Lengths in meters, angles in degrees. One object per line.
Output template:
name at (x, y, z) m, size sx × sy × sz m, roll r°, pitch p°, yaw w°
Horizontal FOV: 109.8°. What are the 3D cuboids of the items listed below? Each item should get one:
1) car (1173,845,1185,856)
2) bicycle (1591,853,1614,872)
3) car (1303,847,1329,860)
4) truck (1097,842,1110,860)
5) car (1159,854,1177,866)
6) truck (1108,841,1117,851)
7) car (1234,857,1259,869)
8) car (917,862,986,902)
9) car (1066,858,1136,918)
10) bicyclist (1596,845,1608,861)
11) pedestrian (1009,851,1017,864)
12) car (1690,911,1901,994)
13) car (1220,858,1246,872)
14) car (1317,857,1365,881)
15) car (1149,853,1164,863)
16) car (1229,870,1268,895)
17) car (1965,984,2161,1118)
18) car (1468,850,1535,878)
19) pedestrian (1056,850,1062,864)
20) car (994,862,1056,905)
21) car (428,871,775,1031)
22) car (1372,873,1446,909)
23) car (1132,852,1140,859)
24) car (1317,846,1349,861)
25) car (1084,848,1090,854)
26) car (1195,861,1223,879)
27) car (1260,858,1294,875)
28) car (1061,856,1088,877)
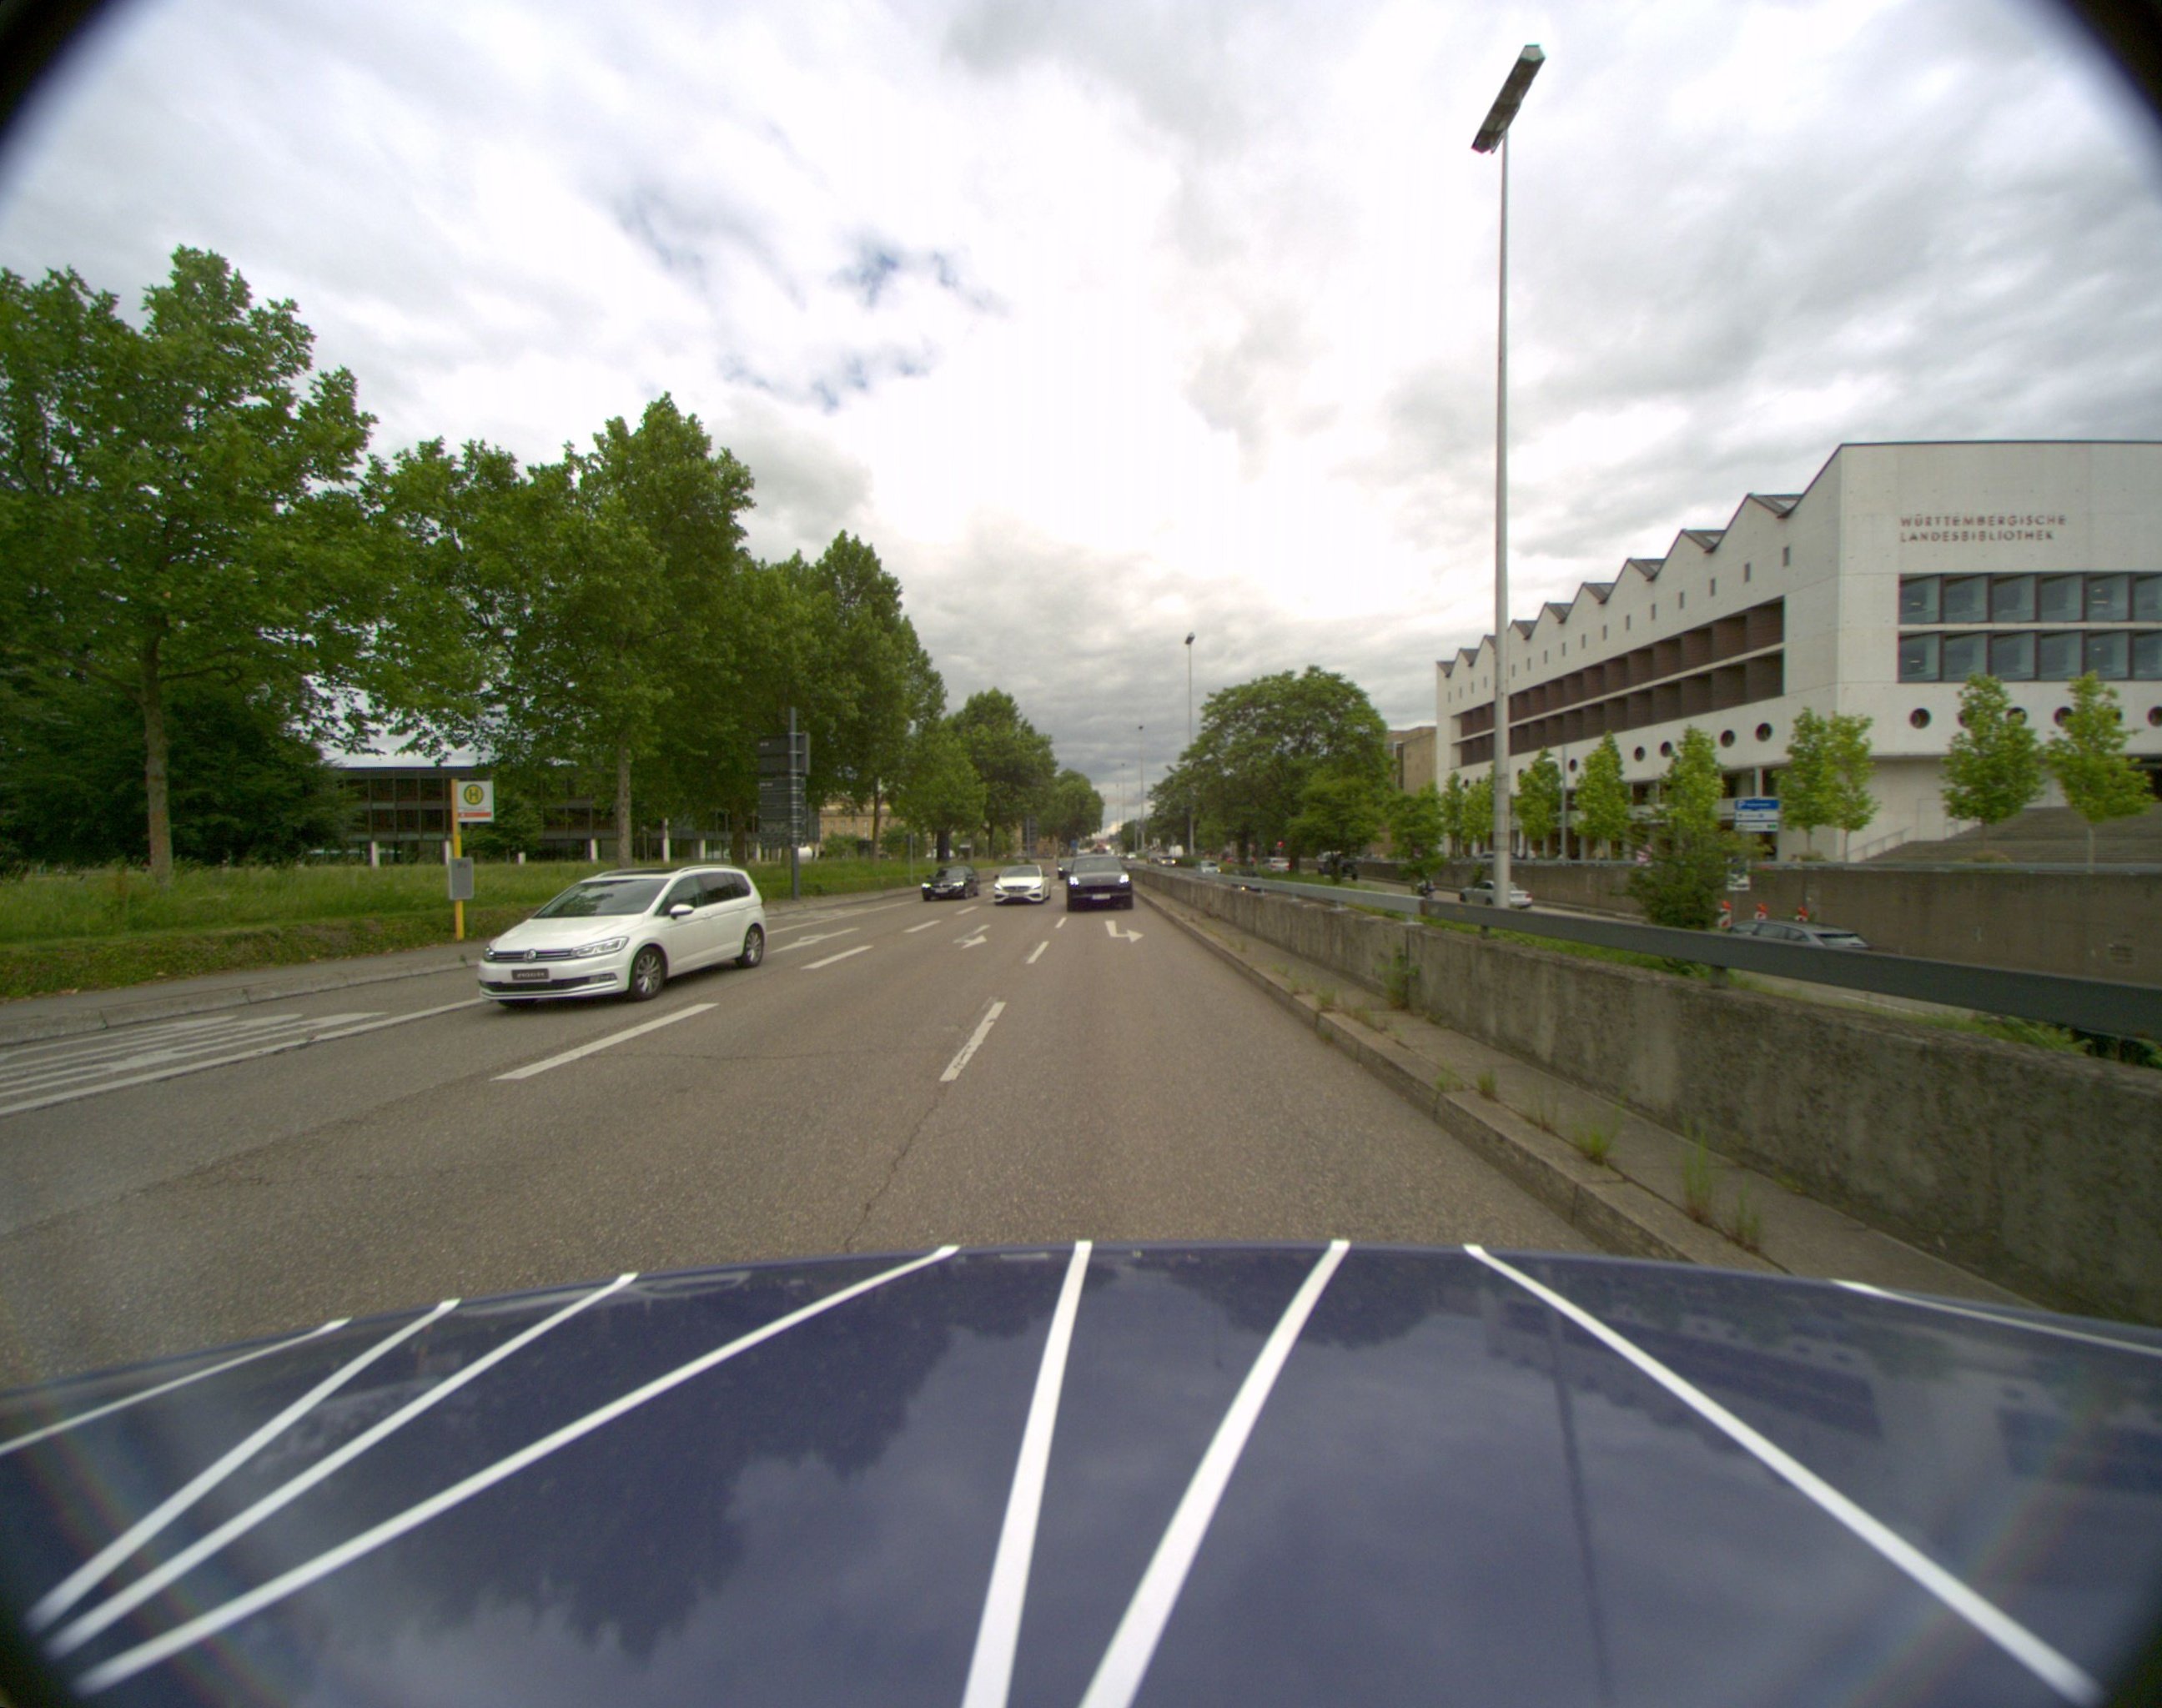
car at (17.403, -0.702, 134.976) m, size 1.609 × 1.844 × 4.000 m, roll -3°, pitch 1°, yaw 1°
bicycle at (37.225, 0.594, 54.215) m, size 0.403 × 1.265 × 1.699 m, roll -3°, pitch 1°, yaw -1°
car at (31.057, -0.027, 100.574) m, size 1.955 × 1.619 × 4.489 m, roll -1°, pitch 0°, yaw -3°
truck at (4.637, -0.678, 156.903) m, size 2.357 × 3.517 × 9.425 m, roll -3°, pitch 1°, yaw 2°
car at (10.681, 0.683, 93.287) m, size 1.657 × 1.406 × 4.092 m, roll -1°, pitch 0°, yaw 0°
truck at (10.564, -2.746, 255.490) m, size 2.576 × 3.288 × 8.080 m, roll -3°, pitch 1°, yaw 2°
car at (20.301, 1.102, 93.284) m, size 1.999 × 1.390 × 3.999 m, roll 2°, pitch 0°, yaw -2°
car at (-5.500, 1.156, 32.916) m, size 1.936 × 1.451 × 4.527 m, roll -2°, pitch 1°, yaw 3°
car at (0.683, 0.966, 23.391) m, size 1.904 × 1.580 × 4.733 m, roll -1°, pitch 0°, yaw 3°
bicyclist at (37.195, -0.061, 54.225) m, size 0.403 × 1.153 × 0.643 m, roll -3°, pitch 1°, yaw -1°
pedestrian at (-10.361, 0.538, 115.802) m, size 0.892 × 2.002 × 1.181 m, roll -3°, pitch 1°, yaw 2°
car at (20.426, 2.740, 22.036) m, size 1.874 × 1.604 × 4.388 m, roll 1°, pitch 3°, yaw 0°
car at (16.515, 1.225, 82.699) m, size 1.998 × 1.390 × 4.000 m, roll 2°, pitch 0°, yaw 0°
car at (20.854, 1.165, 61.068) m, size 2.161 × 1.635 × 4.515 m, roll 2°, pitch 2°, yaw -1°
car at (11.208, 0.590, 112.842) m, size 1.787 × 1.406 × 4.092 m, roll -1°, pitch 0°, yaw 0°
car at (10.740, 1.774, 48.814) m, size 1.559 × 1.406 × 4.092 m, roll -1°, pitch 0°, yaw 0°
car at (17.170, 3.225, 11.872) m, size 1.779 × 1.481 × 4.144 m, roll 1°, pitch 3°, yaw 0°
car at (26.867, 0.585, 48.715) m, size 1.841 × 1.574 × 4.273 m, roll 2°, pitch 2°, yaw 0°
pedestrian at (-3.294, 0.469, 115.315) m, size 0.792 × 2.001 × 0.741 m, roll -1°, pitch -1°, yaw 2°
car at (-2.038, 1.054, 28.698) m, size 1.799 × 1.411 × 4.527 m, roll -1°, pitch 0°, yaw 2°
car at (-6.186, 1.124, 10.579) m, size 1.998 × 1.630 × 4.304 m, roll -1°, pitch 0°, yaw 1°
car at (17.493, 1.939, 40.783) m, size 1.998 × 1.665 × 4.517 m, roll 2°, pitch 0°, yaw 0°
car at (11.114, 0.253, 153.628) m, size 1.372 × 1.390 × 3.722 m, roll 2°, pitch 0°, yaw 0°
car at (28.253, -0.091, 85.409) m, size 1.955 × 1.619 × 4.489 m, roll -1°, pitch 0°, yaw -3°
car at (2.076, -1.036, 251.085) m, size 1.693 × 2.002 × 4.000 m, roll -3°, pitch 1°, yaw 2°
car at (10.801, 1.356, 64.417) m, size 1.559 × 1.406 × 4.092 m, roll -1°, pitch 0°, yaw -1°
car at (17.380, 1.061, 67.548) m, size 1.998 × 1.390 × 4.000 m, roll 2°, pitch 0°, yaw 0°
car at (-0.450, 0.907, 56.346) m, size 1.852 × 1.481 × 4.092 m, roll -1°, pitch 0°, yaw 2°
